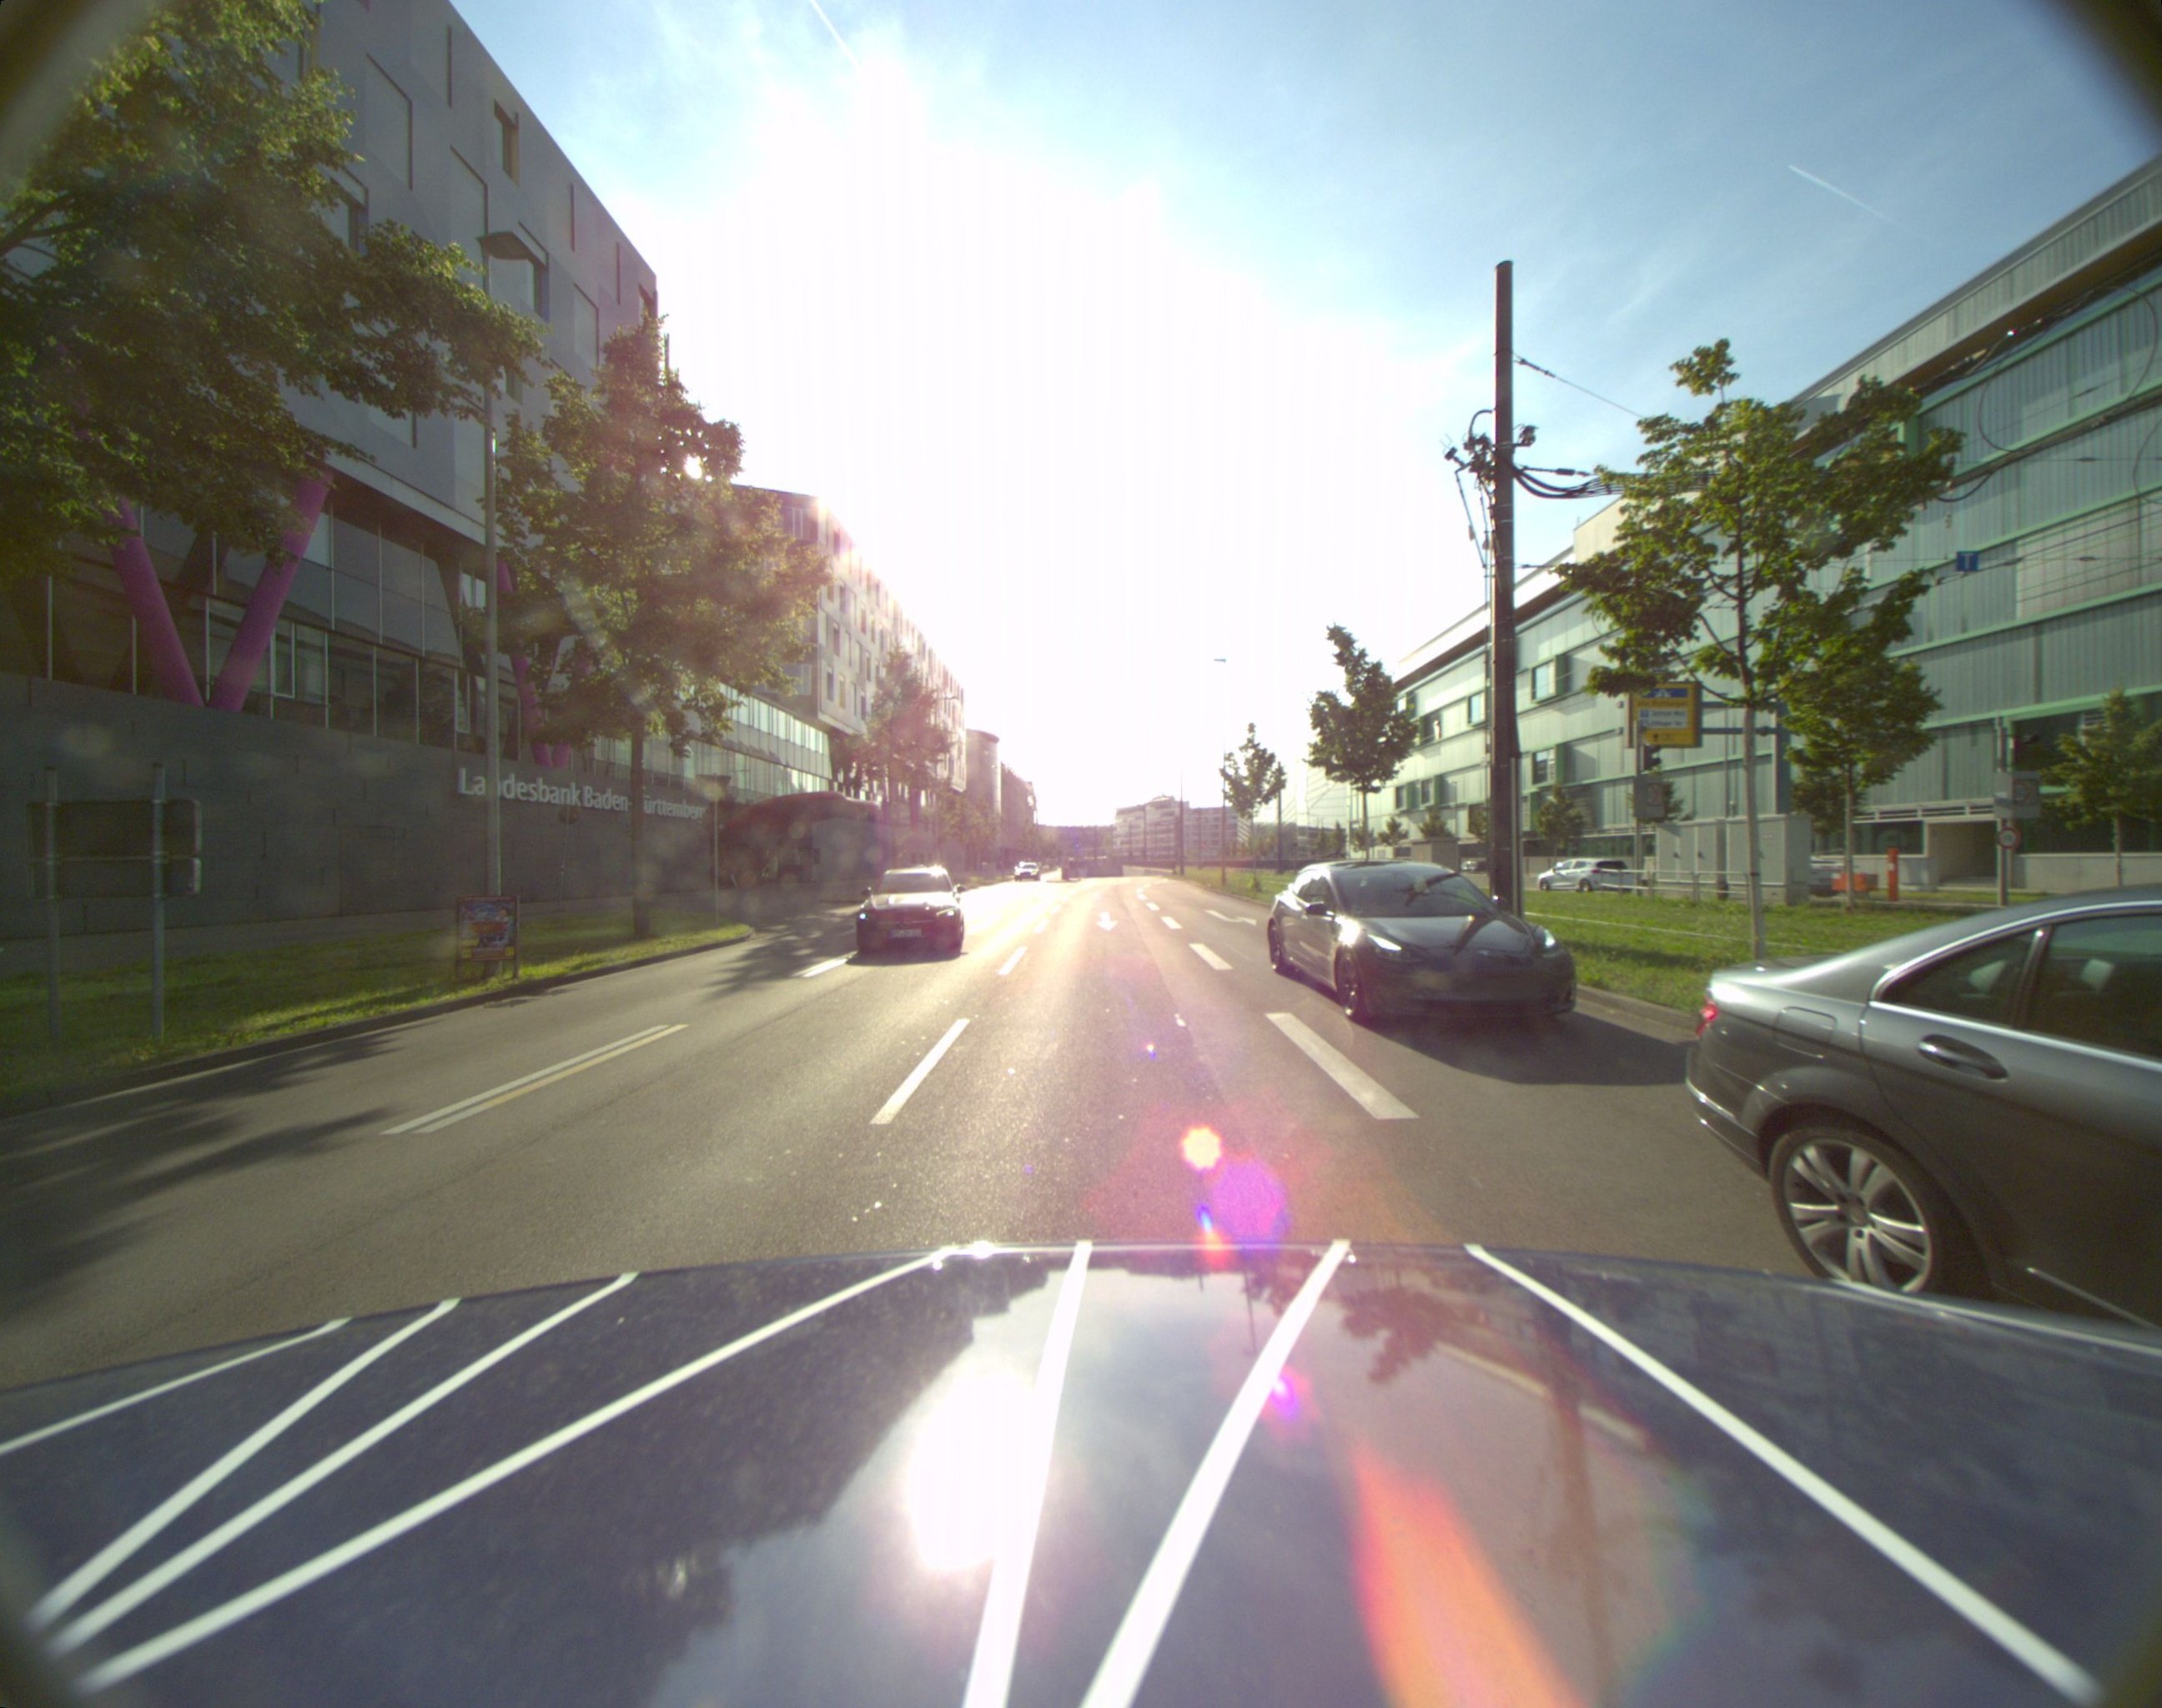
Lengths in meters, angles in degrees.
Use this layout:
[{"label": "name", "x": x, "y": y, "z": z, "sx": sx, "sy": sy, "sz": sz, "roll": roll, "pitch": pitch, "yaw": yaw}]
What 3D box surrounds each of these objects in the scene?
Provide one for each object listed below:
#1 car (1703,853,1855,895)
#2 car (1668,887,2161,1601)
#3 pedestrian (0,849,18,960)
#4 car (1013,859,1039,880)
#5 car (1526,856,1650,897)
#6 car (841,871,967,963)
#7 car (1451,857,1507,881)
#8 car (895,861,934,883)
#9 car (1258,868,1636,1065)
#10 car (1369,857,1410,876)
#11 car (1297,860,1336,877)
[{"label": "car", "x": 27.368, "y": 0.753, "z": 30.043, "sx": 1.911, "sy": 1.519, "sz": 4.441, "roll": 0, "pitch": 0, "yaw": 0}, {"label": "car", "x": 3.237, "y": 0.887, "z": 0.914, "sx": 1.791, "sy": 1.470, "sz": 4.354, "roll": -2, "pitch": 0, "yaw": 3}, {"label": "pedestrian", "x": -17.680, "y": 0.804, "z": 11.939, "sx": 0.756, "sy": 1.783, "sz": 0.844, "roll": 1, "pitch": 0, "yaw": 0}, {"label": "car", "x": -4.443, "y": 1.222, "z": 62.328, "sx": 1.895, "sy": 1.418, "sz": 4.470, "roll": -1, "pitch": 2, "yaw": -2}, {"label": "car", "x": 20.485, "y": 0.874, "z": 30.963, "sx": 1.999, "sy": 1.519, "sz": 4.310, "roll": 0, "pitch": 0, "yaw": -4}, {"label": "car", "x": -3.306, "y": 1.104, "z": 15.016, "sx": 1.844, "sy": 1.441, "sz": 4.553, "roll": -2, "pitch": -1, "yaw": -6}, {"label": "car", "x": 28.233, "y": 1.011, "z": 54.083, "sx": 1.913, "sy": 1.625, "sz": 4.180, "roll": -1, "pitch": 0, "yaw": 2}, {"label": "car", "x": -11.113, "y": 1.174, "z": 50.896, "sx": 1.696, "sy": 1.382, "sz": 4.199, "roll": 0, "pitch": -1, "yaw": 0}, {"label": "car", "x": 3.281, "y": 0.901, "z": 7.945, "sx": 1.894, "sy": 1.377, "sz": 4.335, "roll": -2, "pitch": 0, "yaw": 1}, {"label": "car", "x": 28.400, "y": 1.093, "z": 70.117, "sx": 1.998, "sy": 1.677, "sz": 4.617, "roll": 0, "pitch": 0, "yaw": 1}, {"label": "car", "x": 20.956, "y": 1.270, "z": 67.788, "sx": 1.998, "sy": 1.519, "sz": 4.913, "roll": 0, "pitch": 0, "yaw": 0}]
